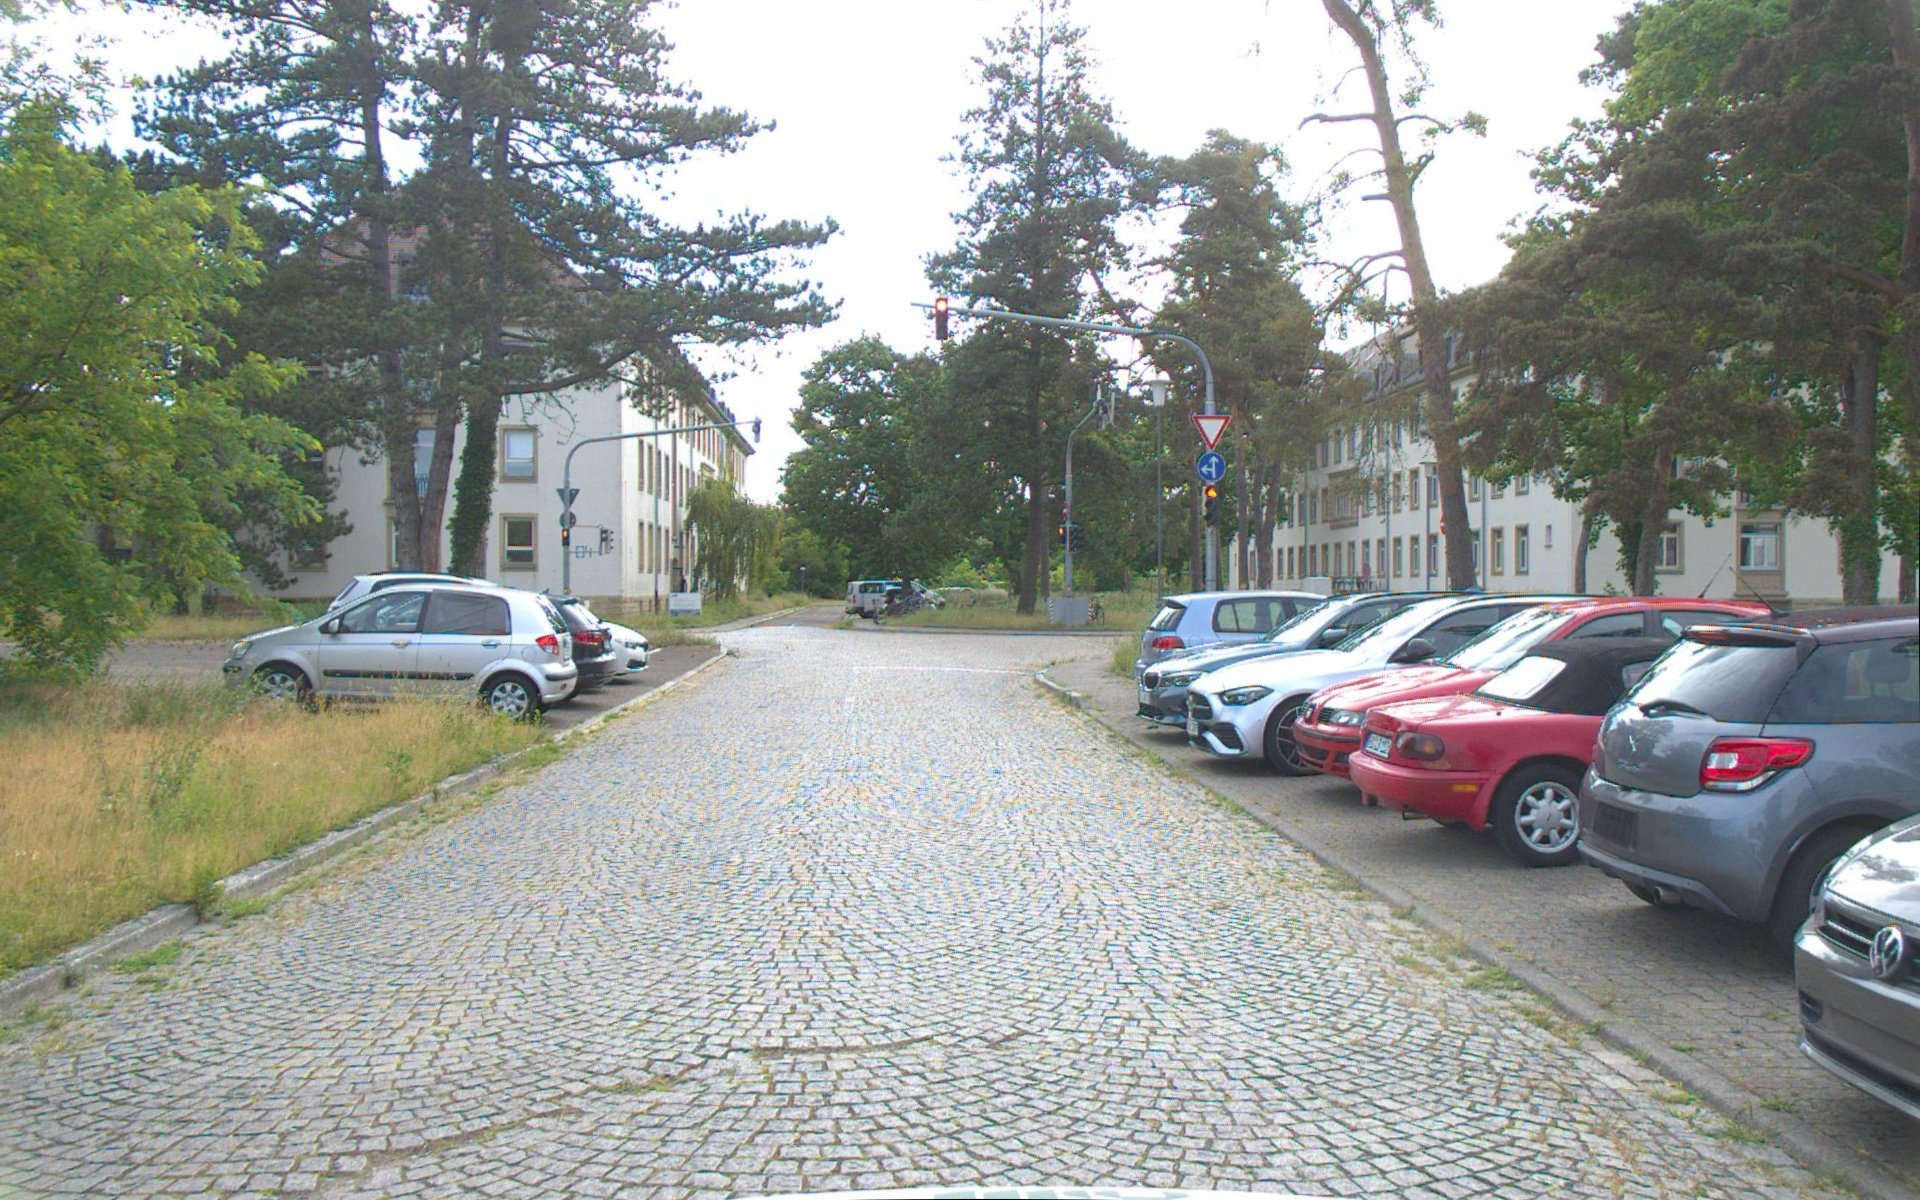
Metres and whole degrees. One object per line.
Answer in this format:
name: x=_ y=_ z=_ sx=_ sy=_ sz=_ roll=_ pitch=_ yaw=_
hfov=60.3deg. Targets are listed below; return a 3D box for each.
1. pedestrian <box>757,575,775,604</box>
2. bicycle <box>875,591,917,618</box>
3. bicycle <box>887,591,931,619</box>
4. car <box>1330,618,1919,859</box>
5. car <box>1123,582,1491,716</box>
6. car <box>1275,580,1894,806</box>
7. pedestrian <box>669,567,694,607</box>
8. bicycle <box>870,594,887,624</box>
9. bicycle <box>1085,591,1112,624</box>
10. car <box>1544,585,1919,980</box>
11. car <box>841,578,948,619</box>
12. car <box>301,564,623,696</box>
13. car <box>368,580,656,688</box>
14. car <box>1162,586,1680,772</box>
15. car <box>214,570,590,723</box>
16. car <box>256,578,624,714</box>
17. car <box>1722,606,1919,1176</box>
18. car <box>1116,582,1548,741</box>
pedestrian: x=-13.572 y=-0.707 z=115.608 sx=1.216 sy=1.993 sz=1.119 roll=2 pitch=0 yaw=-8
bicycle: x=-2.905 y=0.194 z=75.328 sx=1.846 sy=1.191 sz=0.663 roll=2 pitch=0 yaw=-9
bicycle: x=-2.218 y=0.221 z=71.868 sx=1.846 sy=1.191 sz=0.663 roll=2 pitch=0 yaw=-9
car: x=4.202 y=0.778 z=10.045 sx=3.514 sy=1.244 sz=1.628 roll=-1 pitch=1 yaw=-2
car: x=4.156 y=0.549 z=20.079 sx=4.058 sy=1.489 sz=1.630 roll=-1 pitch=0 yaw=-9
car: x=4.565 y=0.629 z=12.412 sx=4.025 sy=1.502 sz=1.683 roll=-1 pitch=0 yaw=-5
pedestrian: x=-14.073 y=-0.657 z=83.660 sx=1.053 sy=1.993 sz=1.120 roll=1 pitch=0 yaw=-3
bicycle: x=-3.298 y=0.350 z=67.162 sx=0.649 sy=1.191 sz=1.886 roll=1 pitch=0 yaw=-3
bicycle: x=4.778 y=0.245 z=57.011 sx=0.649 sy=1.069 sz=1.887 roll=2 pitch=1 yaw=-3
car: x=4.664 y=0.694 z=7.444 sx=3.436 sy=1.513 sz=1.742 roll=-1 pitch=0 yaw=-4
car: x=-3.452 y=-0.080 z=86.615 sx=5.288 sy=2.138 sz=2.169 roll=0 pitch=0 yaw=-16
car: x=-7.073 y=0.402 z=23.864 sx=4.218 sy=1.762 sz=1.649 roll=-1 pitch=0 yaw=-9
car: x=-7.023 y=0.500 z=26.325 sx=4.219 sy=1.581 sz=1.808 roll=-1 pitch=1 yaw=-9
car: x=4.033 y=0.637 z=14.744 sx=4.110 sy=1.462 sz=1.751 roll=-1 pitch=1 yaw=-11
car: x=-6.127 y=0.497 z=18.514 sx=3.649 sy=1.506 sz=1.671 roll=2 pitch=0 yaw=-6
car: x=-6.495 y=0.543 z=21.092 sx=4.219 sy=1.581 sz=1.808 roll=-1 pitch=1 yaw=-9
car: x=4.525 y=0.745 z=4.564 sx=4.048 sy=1.472 sz=1.765 roll=-1 pitch=1 yaw=-3
car: x=3.900 y=0.589 z=17.507 sx=4.157 sy=1.505 sz=1.703 roll=-1 pitch=1 yaw=-14
